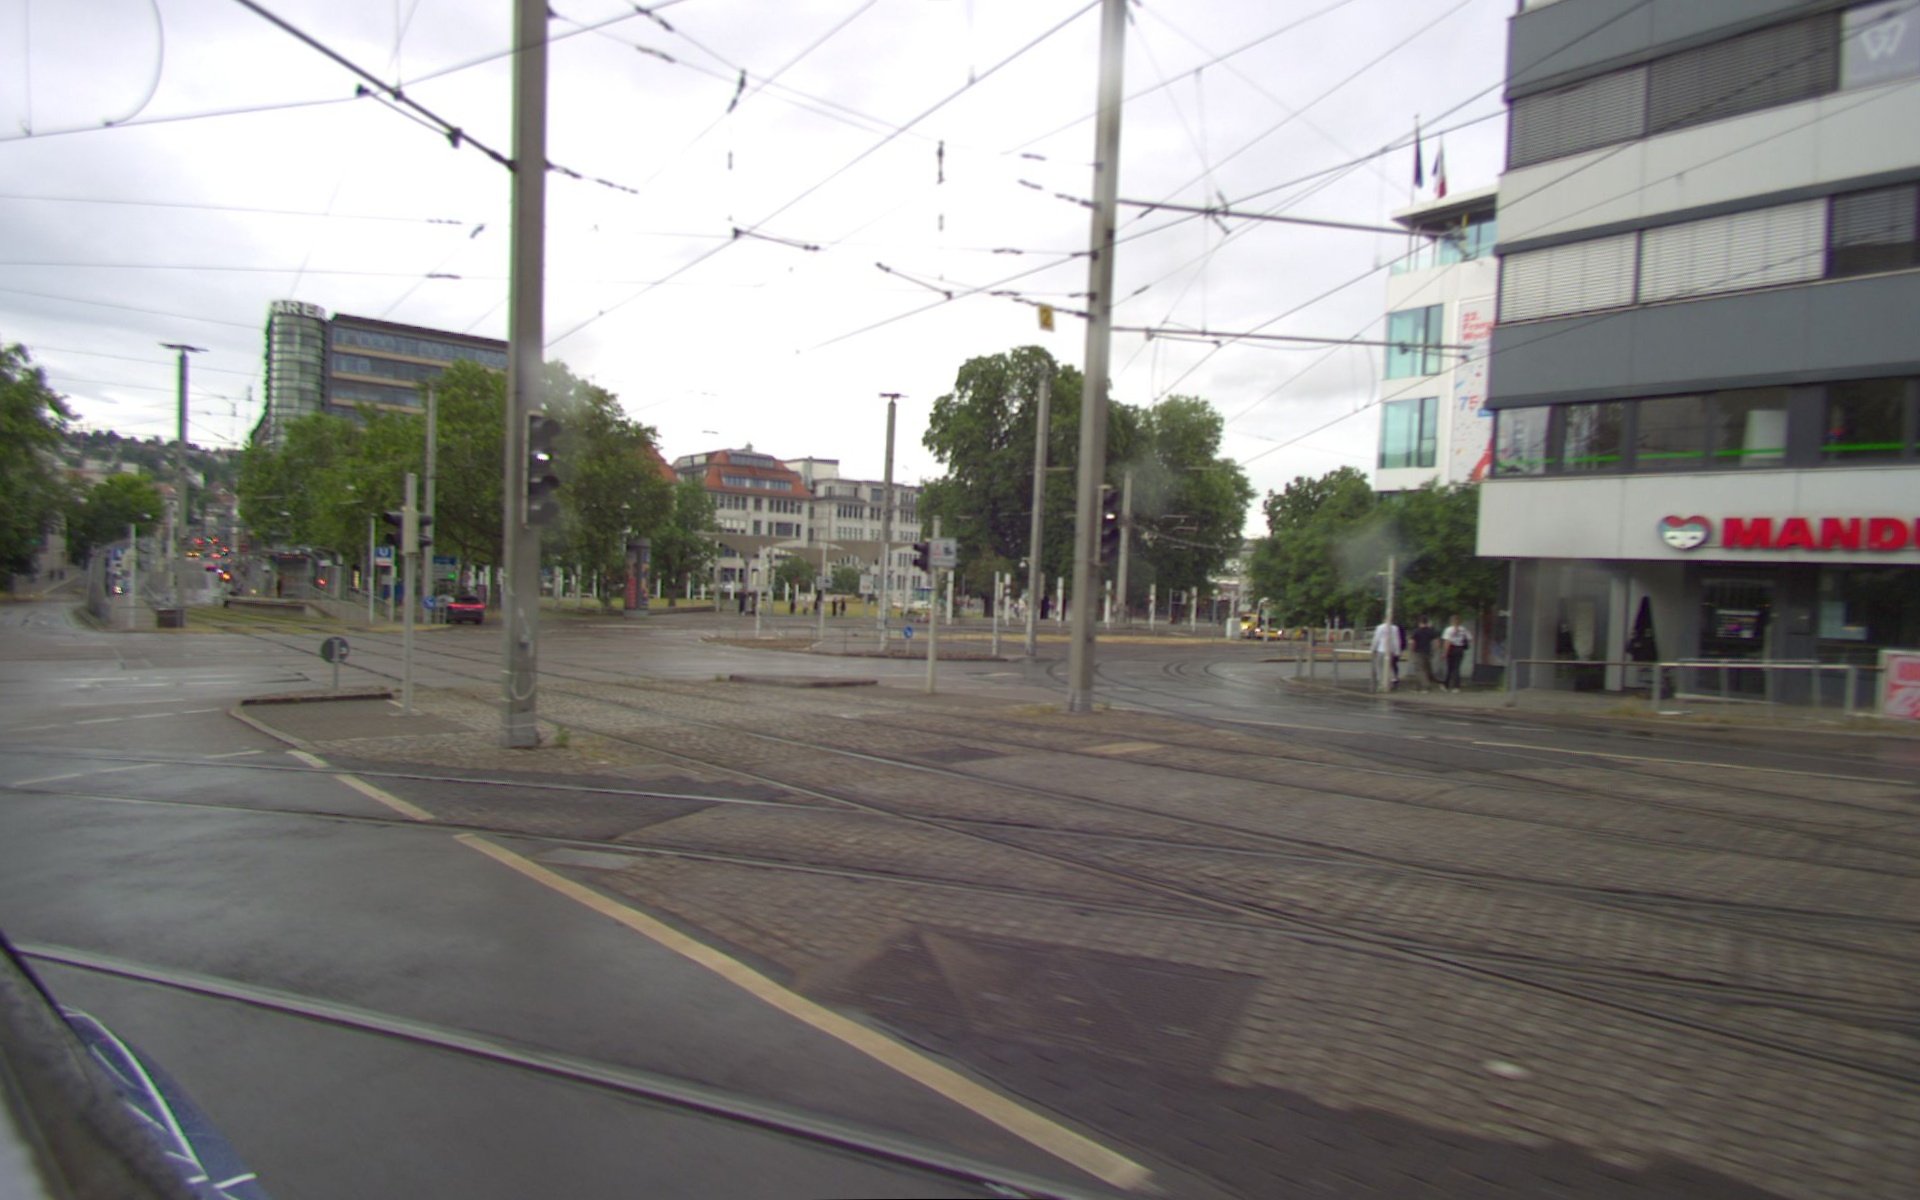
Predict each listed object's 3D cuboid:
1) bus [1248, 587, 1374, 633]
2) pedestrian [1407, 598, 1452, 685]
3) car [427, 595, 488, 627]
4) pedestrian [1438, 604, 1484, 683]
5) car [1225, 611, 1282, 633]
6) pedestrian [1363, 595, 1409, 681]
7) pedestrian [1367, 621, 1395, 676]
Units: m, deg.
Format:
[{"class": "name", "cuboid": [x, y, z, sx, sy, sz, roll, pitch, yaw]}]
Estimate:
[{"class": "bus", "cuboid": [27.379, 0.782, 78.464, 12.322, 3.325, 3.093, 1, 1, -39]}, {"class": "pedestrian", "cuboid": [10.794, 0.937, 23.264, 0.708, 1.928, 0.699, 1, 1, -44]}, {"class": "car", "cuboid": [-26.404, 0.566, 53.113, 2.071, 1.517, 4.743, 1, 1, -37]}, {"class": "pedestrian", "cuboid": [11.533, 0.991, 23.327, 0.689, 1.775, 0.718, 1, 0, 6]}, {"class": "car", "cuboid": [22.676, 1.678, 78.096, 4.463, 1.658, 2.004, 1, 1, -39]}, {"class": "pedestrian", "cuboid": [9.795, 0.859, 23.276, 0.688, 1.928, 0.719, 1, 0, -1]}, {"class": "pedestrian", "cuboid": [12.438, 1.422, 29.904, 0.513, 1.575, 0.544, 1, 1, -42]}]
